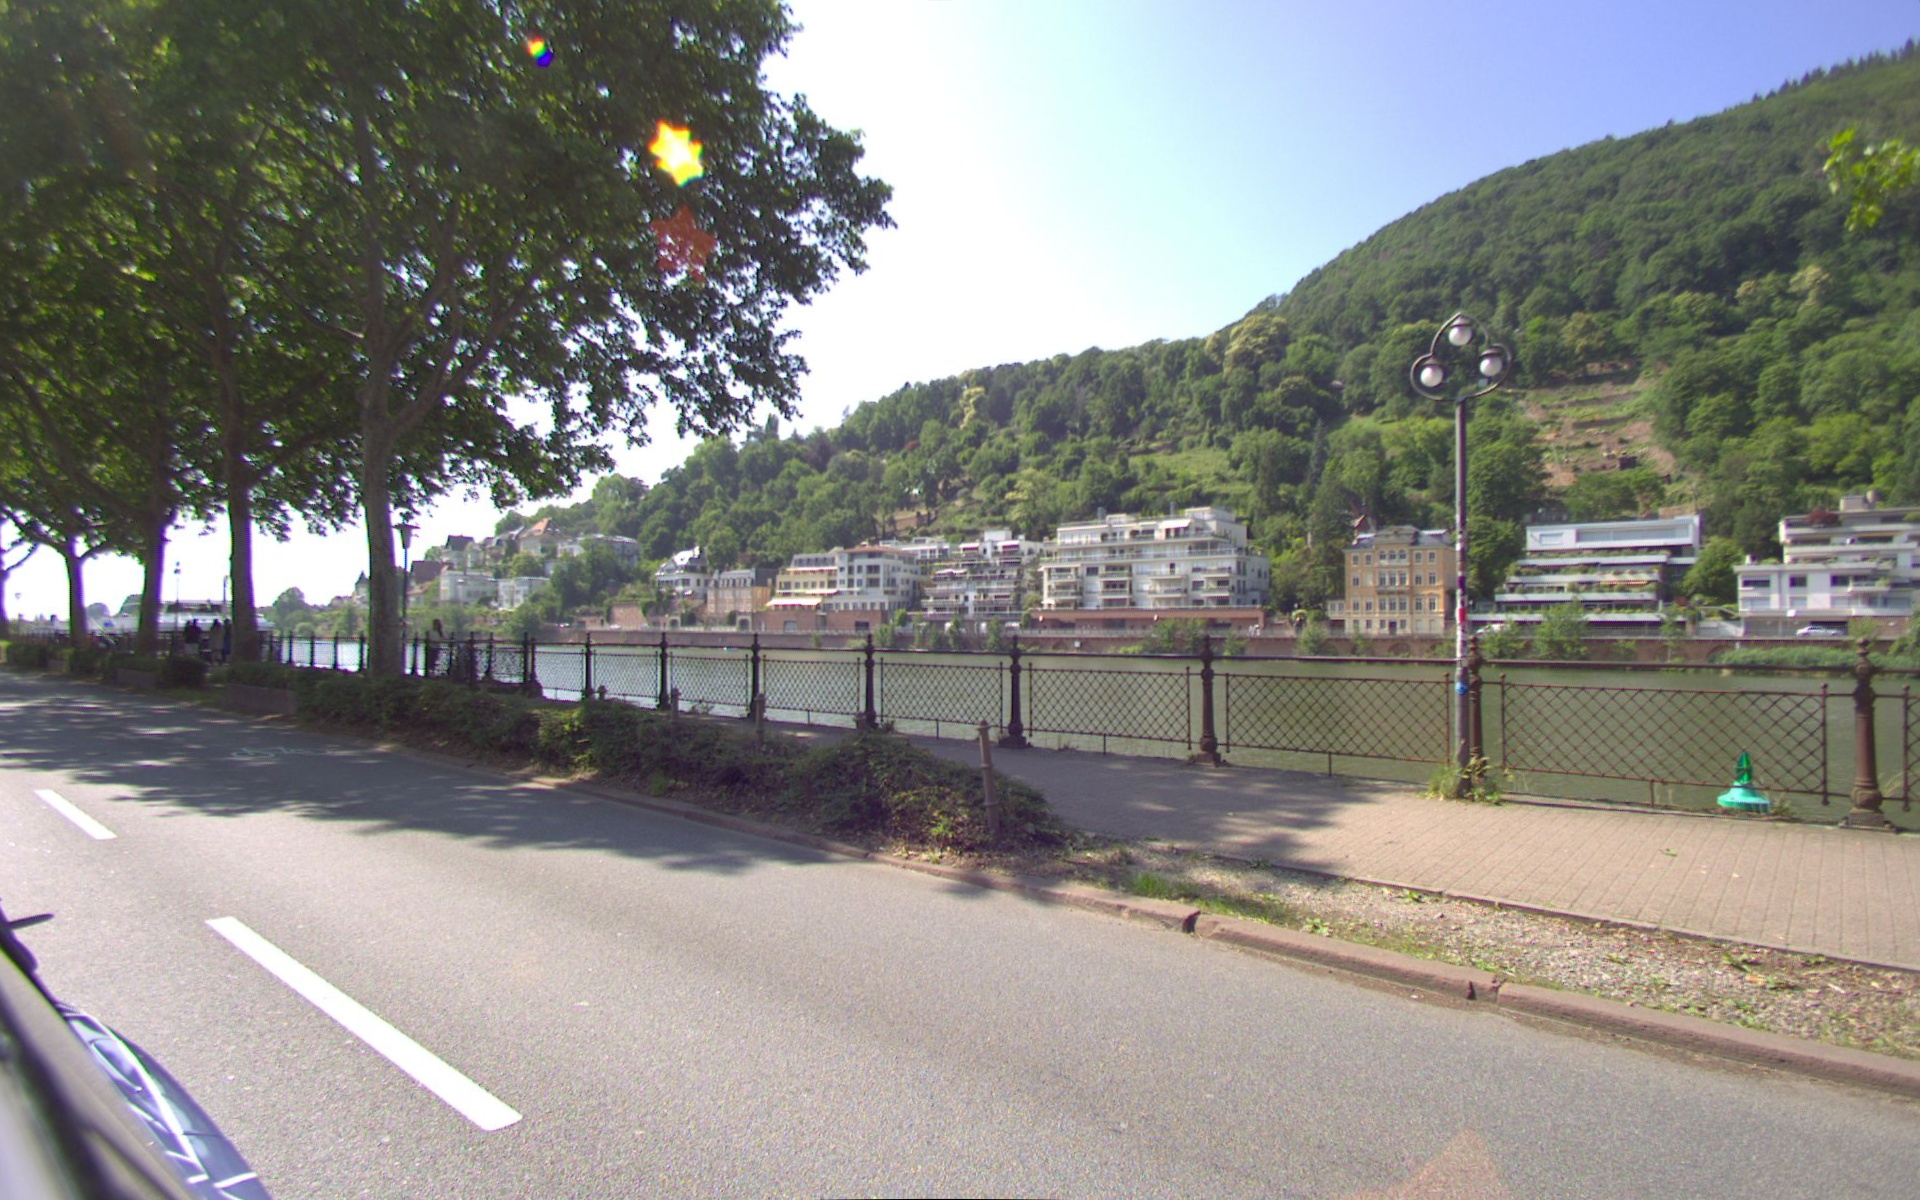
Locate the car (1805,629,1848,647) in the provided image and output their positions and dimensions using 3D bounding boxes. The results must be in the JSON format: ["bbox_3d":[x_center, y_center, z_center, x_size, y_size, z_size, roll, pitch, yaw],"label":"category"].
[{"bbox_3d":[107.388,4.668,125.426,3.998,2.029,1.973,-1,0,41],"label":"car"}]

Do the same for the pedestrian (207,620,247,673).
[{"bbox_3d":[-29.216,1.827,40.366,1.032,2.029,1.038,-1,0,-19],"label":"pedestrian"}]

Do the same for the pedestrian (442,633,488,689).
[{"bbox_3d":[-12.628,1.542,25.819,0.770,1.398,0.758,-2,-3,40],"label":"pedestrian"}]

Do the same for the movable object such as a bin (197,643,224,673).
[{"bbox_3d":[-27.999,2.146,37.796,0.783,1.057,0.694,-1,0,44],"label":"movable object such as a bin"}]

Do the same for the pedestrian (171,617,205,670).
[{"bbox_3d":[-27.775,1.561,36.417,0.928,1.863,0.796,-1,0,41],"label":"pedestrian"}]

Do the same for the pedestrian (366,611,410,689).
[{"bbox_3d":[-14.367,1.260,25.433,0.756,1.915,0.771,3,-4,-42],"label":"pedestrian"}]

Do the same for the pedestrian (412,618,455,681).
[{"bbox_3d":[-15.045,1.413,28.917,0.829,1.771,0.767,-2,-4,40],"label":"pedestrian"}]

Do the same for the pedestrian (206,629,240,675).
[{"bbox_3d":[-27.118,1.893,37.239,0.885,1.647,1.060,0,0,-44],"label":"pedestrian"}]
